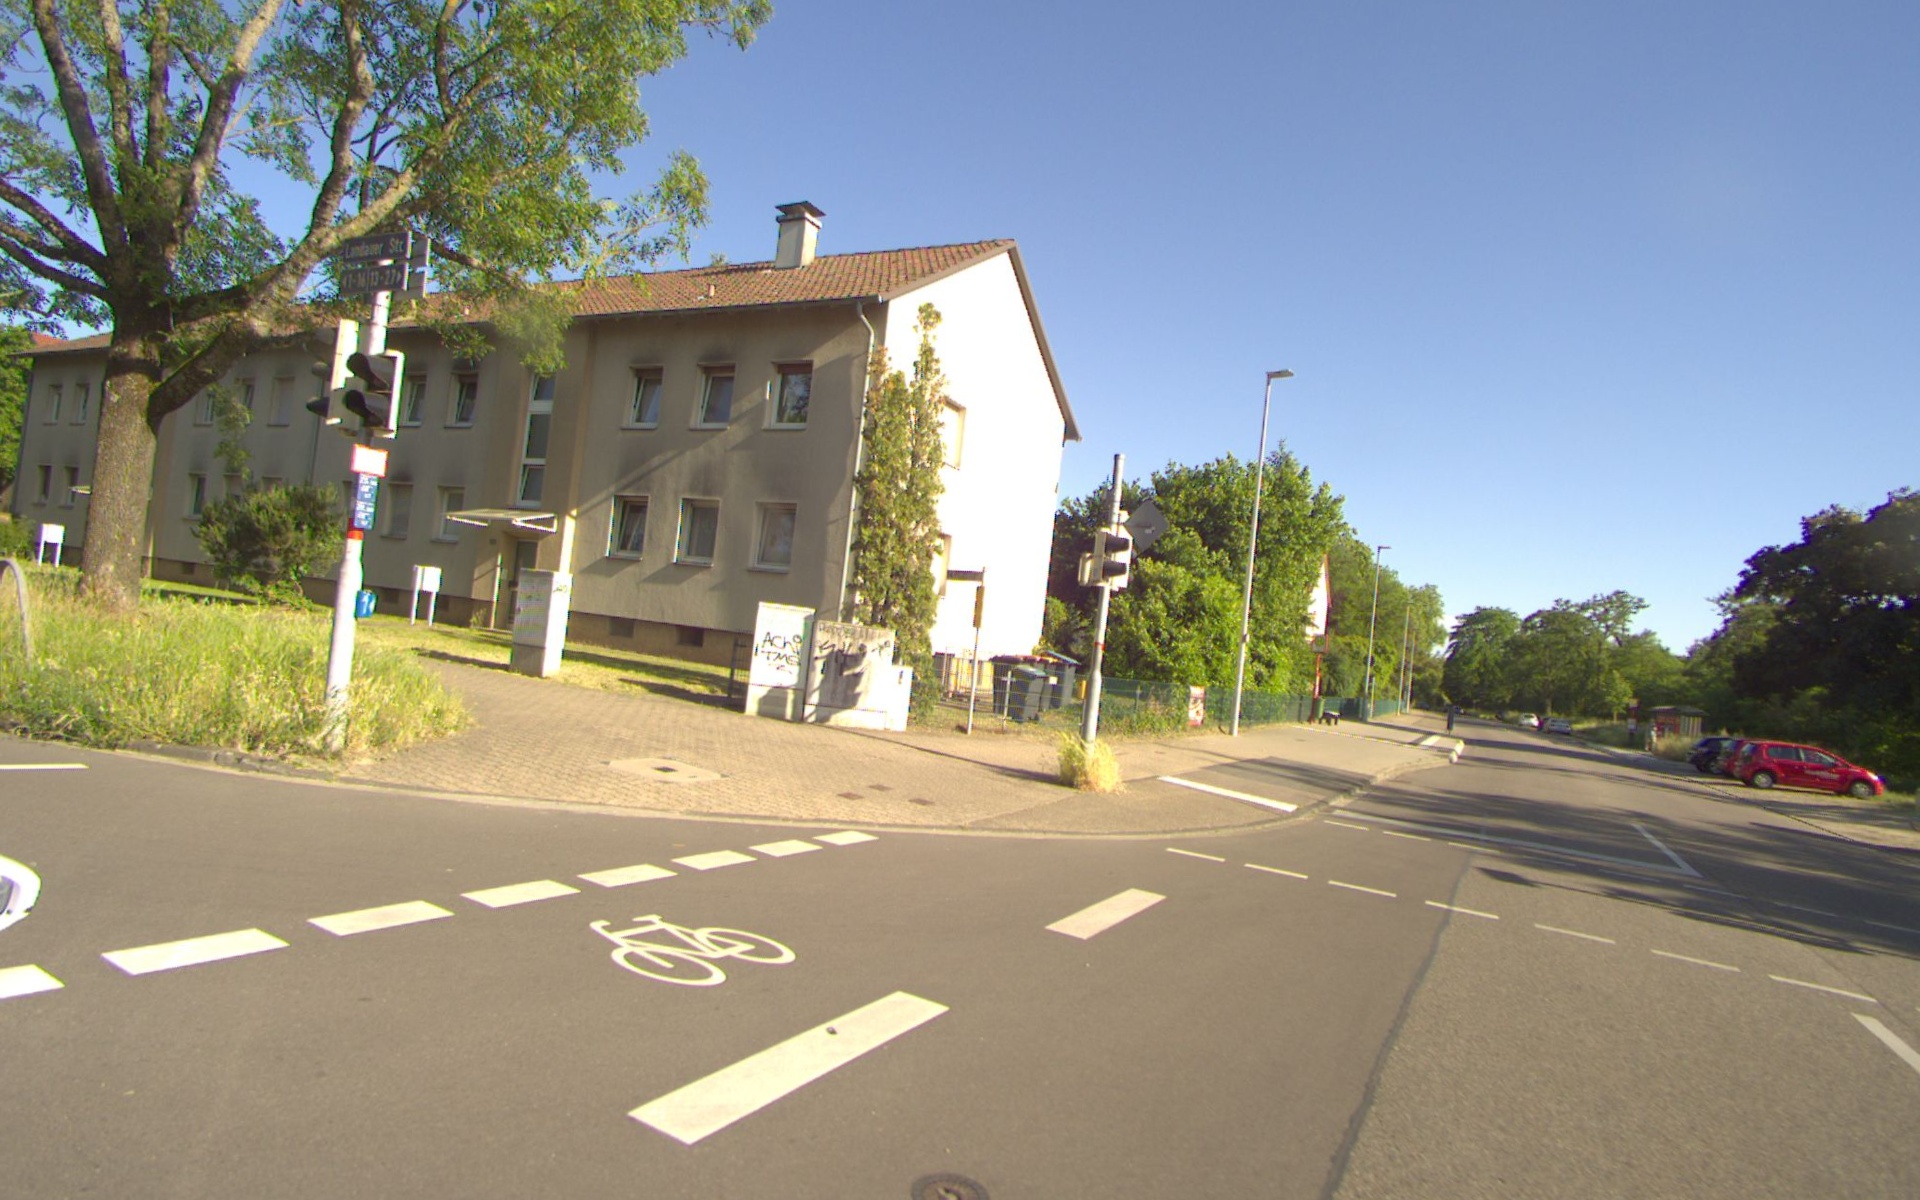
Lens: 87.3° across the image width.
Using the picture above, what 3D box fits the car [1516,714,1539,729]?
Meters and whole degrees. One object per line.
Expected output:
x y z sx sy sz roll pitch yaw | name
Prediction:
64.865 13.908 115.075 1.836 1.547 4.201 3 -6 24 | car

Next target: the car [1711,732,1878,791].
28.809 5.566 34.903 4.125 1.548 1.870 2 -5 28 | car

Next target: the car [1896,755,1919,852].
18.757 3.651 16.673 4.373 1.668 1.870 2 -5 28 | car

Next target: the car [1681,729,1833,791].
30.077 6.012 38.138 4.124 1.549 1.868 7 -2 28 | car

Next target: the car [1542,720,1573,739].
53.207 11.549 89.621 1.836 1.547 4.201 3 -6 24 | car

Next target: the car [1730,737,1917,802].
27.102 5.297 31.772 4.125 1.548 1.870 2 -5 28 | car
